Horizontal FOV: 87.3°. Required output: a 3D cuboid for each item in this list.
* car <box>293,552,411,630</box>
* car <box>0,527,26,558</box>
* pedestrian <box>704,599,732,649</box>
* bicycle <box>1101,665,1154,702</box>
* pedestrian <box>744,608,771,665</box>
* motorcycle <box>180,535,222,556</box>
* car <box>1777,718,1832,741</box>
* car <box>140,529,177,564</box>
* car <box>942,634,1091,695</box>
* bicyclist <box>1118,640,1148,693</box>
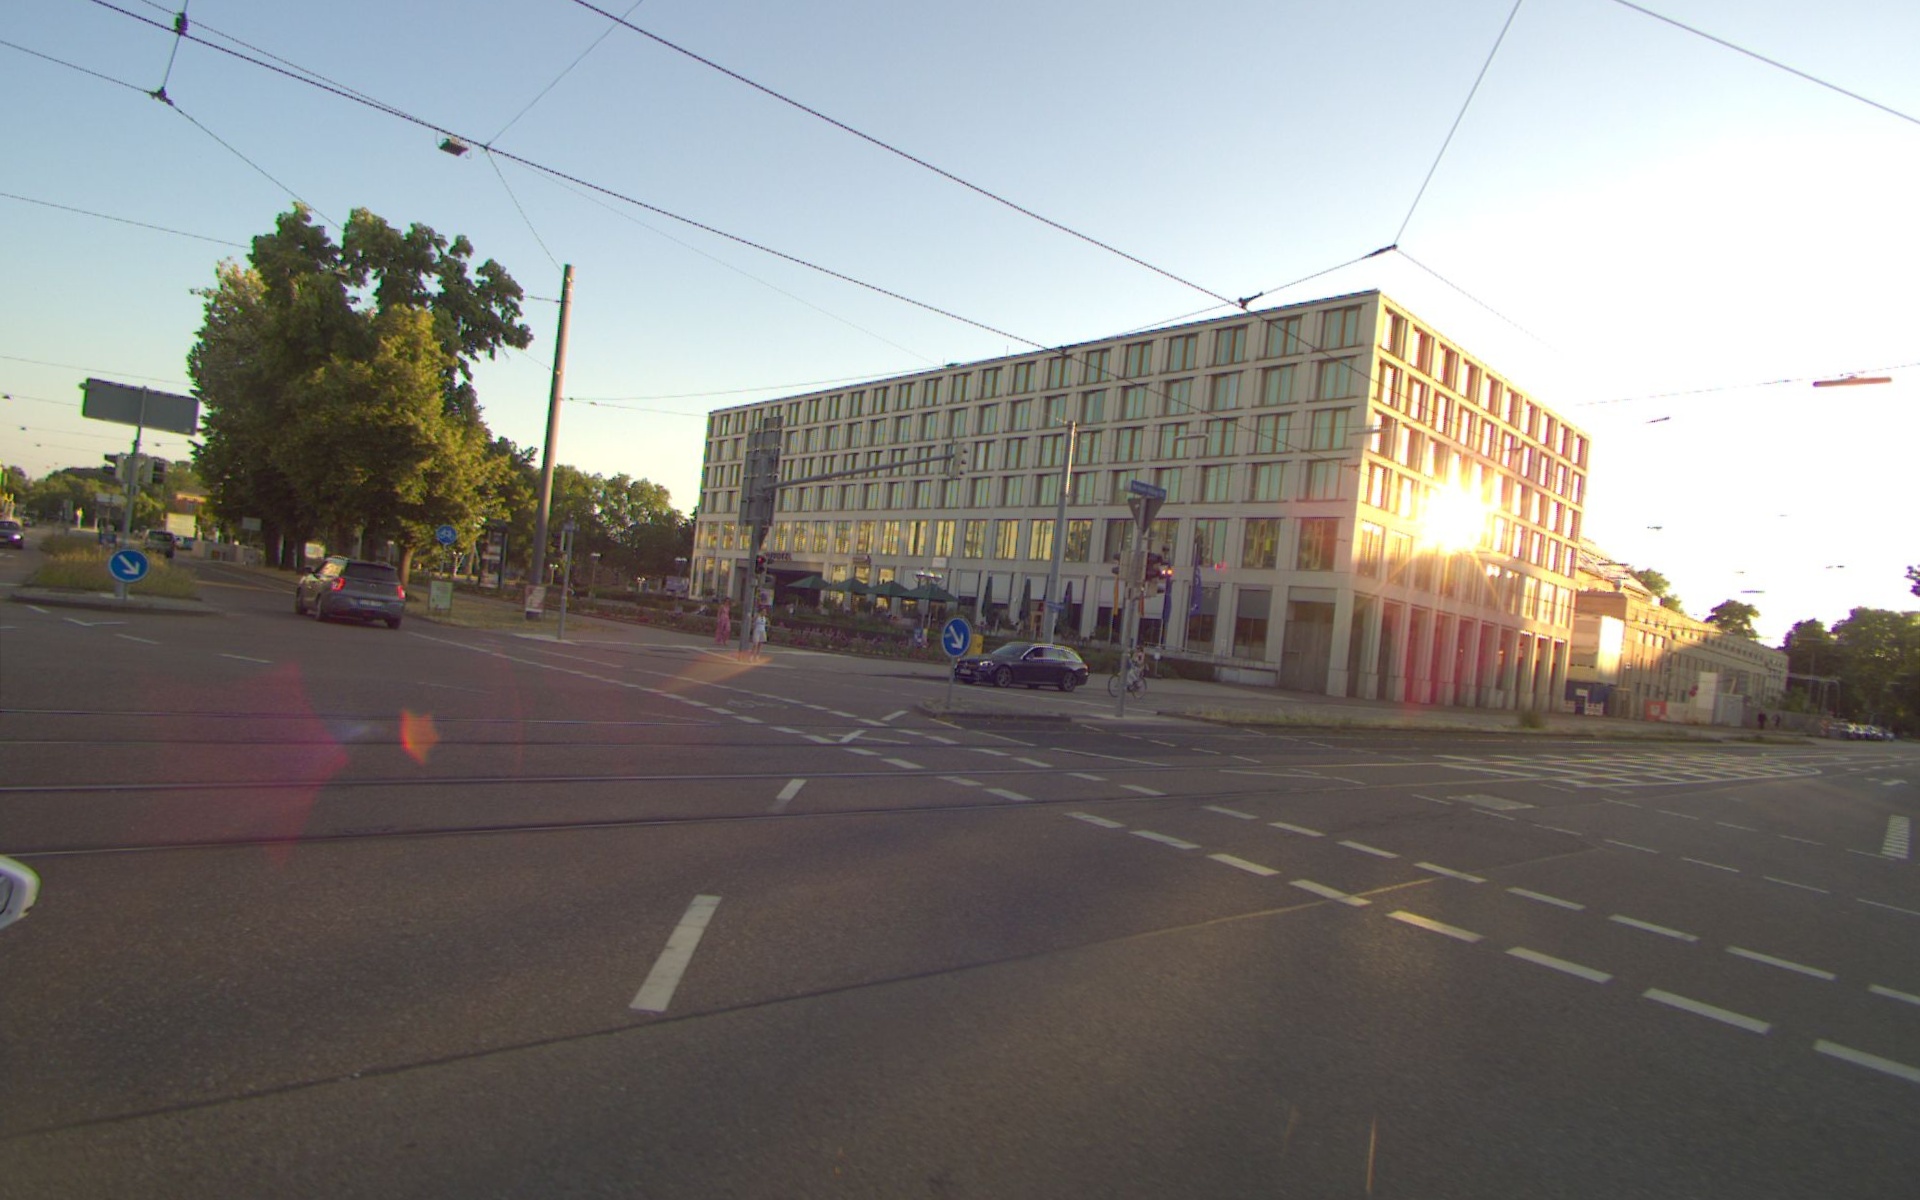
[{"bbox_3d":[-15.416,-0.266,25.410,1.687,1.624,4.042,7,-1,-42],"label":"car"},{"bbox_3d":[-49.771,-3.059,52.119,1.685,1.438,4.128,7,-1,-39],"label":"car"},{"bbox_3d":[-8.386,0.825,34.866,0.714,1.646,0.737,6,0,-9],"label":"pedestrian"},{"bbox_3d":[5.470,2.735,32.838,1.745,1.064,0.535,7,-1,-36],"label":"bicycle"},{"bbox_3d":[-6.067,1.095,30.118,0.530,1.646,0.624,6,0,-24],"label":"pedestrian"},{"bbox_3d":[-81.404,-5.850,107.924,3.470,1.776,0.916,7,-1,-39],"label":"motorcycle"},{"bbox_3d":[81.401,12.504,96.995,1.850,1.668,3.766,7,-2,-41],"label":"car"},{"bbox_3d":[-57.470,-3.837,72.122,1.875,2.265,3.868,6,-1,-39],"label":"car"},{"bbox_3d":[1.876,2.109,32.431,4.772,1.540,1.799,7,-3,-39],"label":"car"},{"bbox_3d":[5.662,2.183,32.951,0.591,1.655,0.536,6,0,-35],"label":"bicyclist"}]
